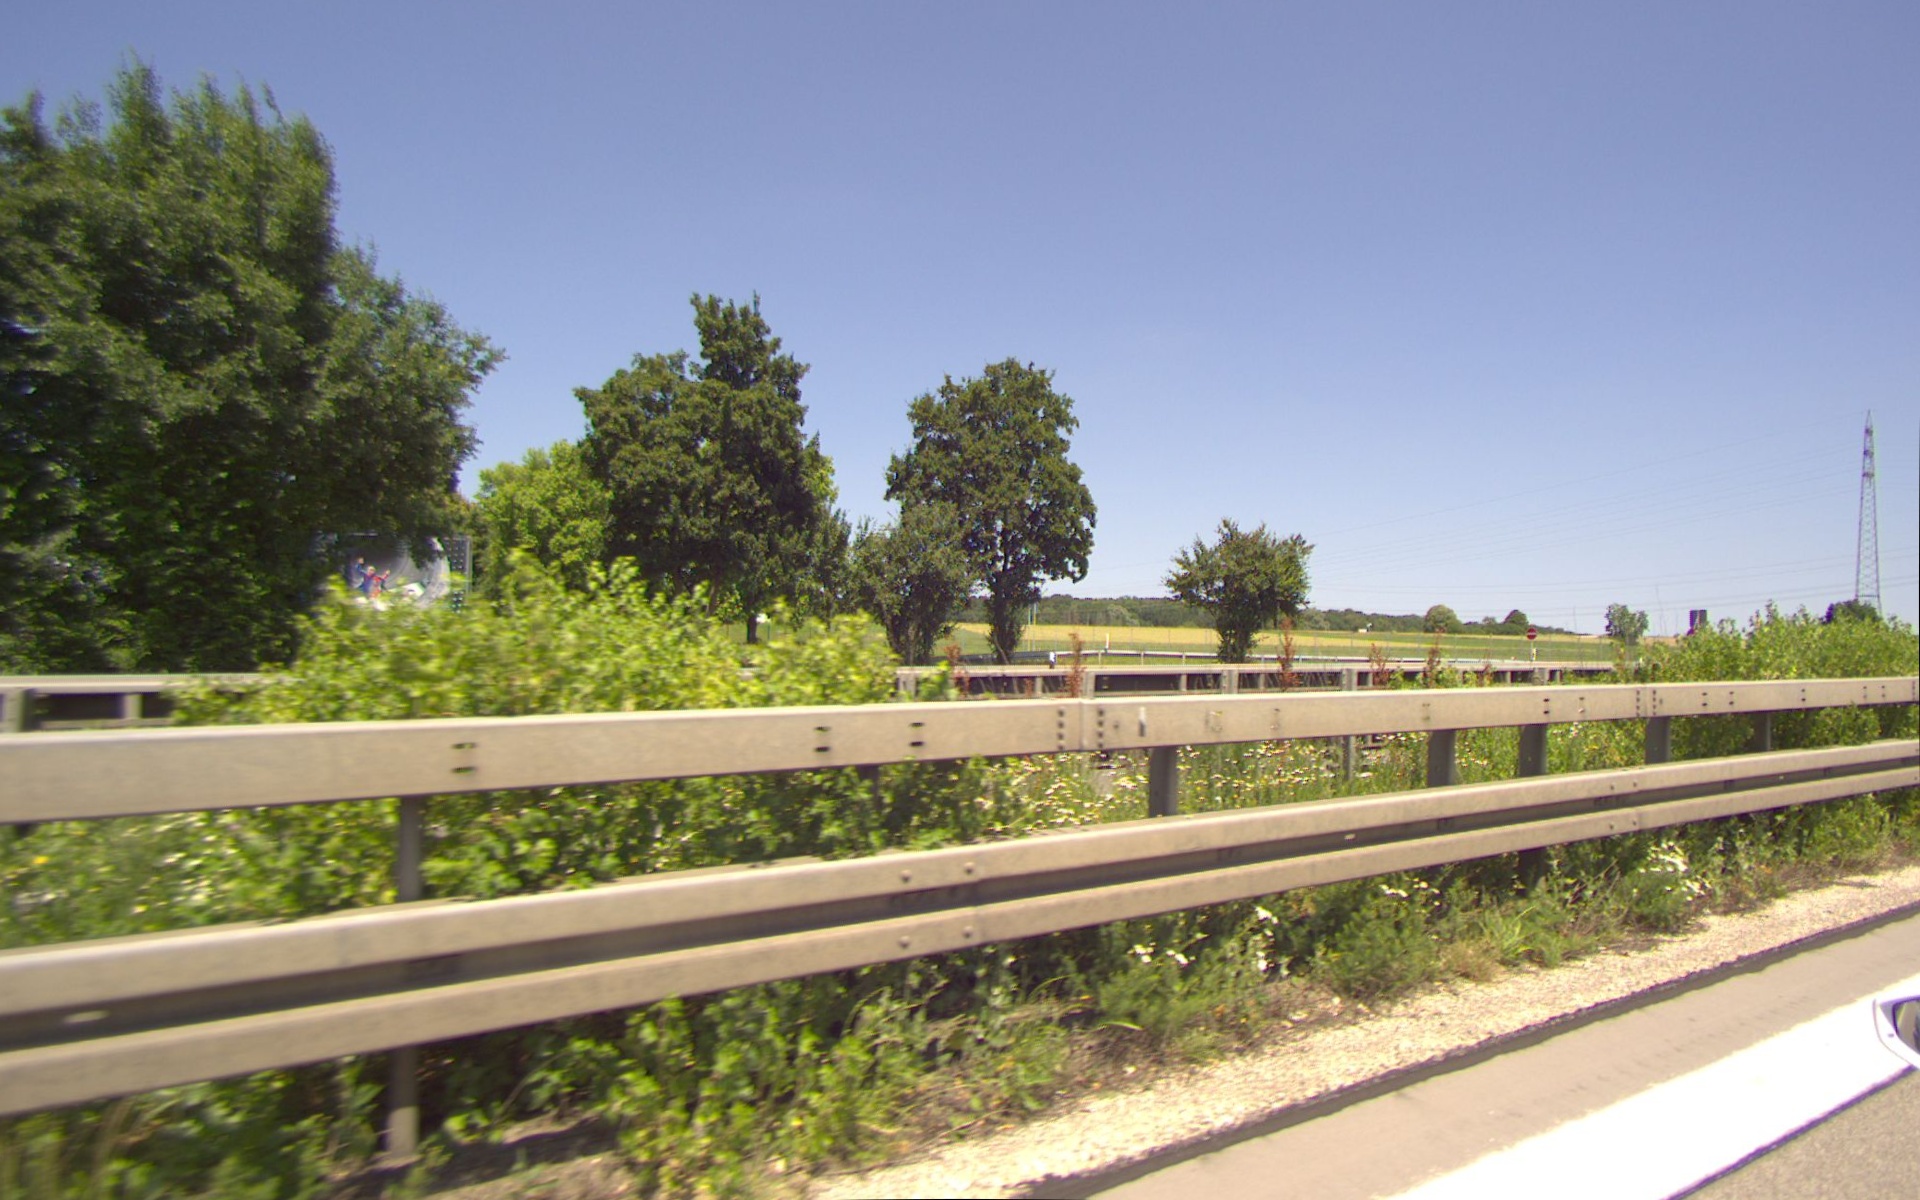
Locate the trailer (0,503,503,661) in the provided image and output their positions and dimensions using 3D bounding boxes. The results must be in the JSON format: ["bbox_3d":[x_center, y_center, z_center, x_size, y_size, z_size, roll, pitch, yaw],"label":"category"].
[{"bbox_3d":[-20.723,-0.338,28.020,14.244,3.829,2.754,2,0,-30],"label":"trailer"}]
